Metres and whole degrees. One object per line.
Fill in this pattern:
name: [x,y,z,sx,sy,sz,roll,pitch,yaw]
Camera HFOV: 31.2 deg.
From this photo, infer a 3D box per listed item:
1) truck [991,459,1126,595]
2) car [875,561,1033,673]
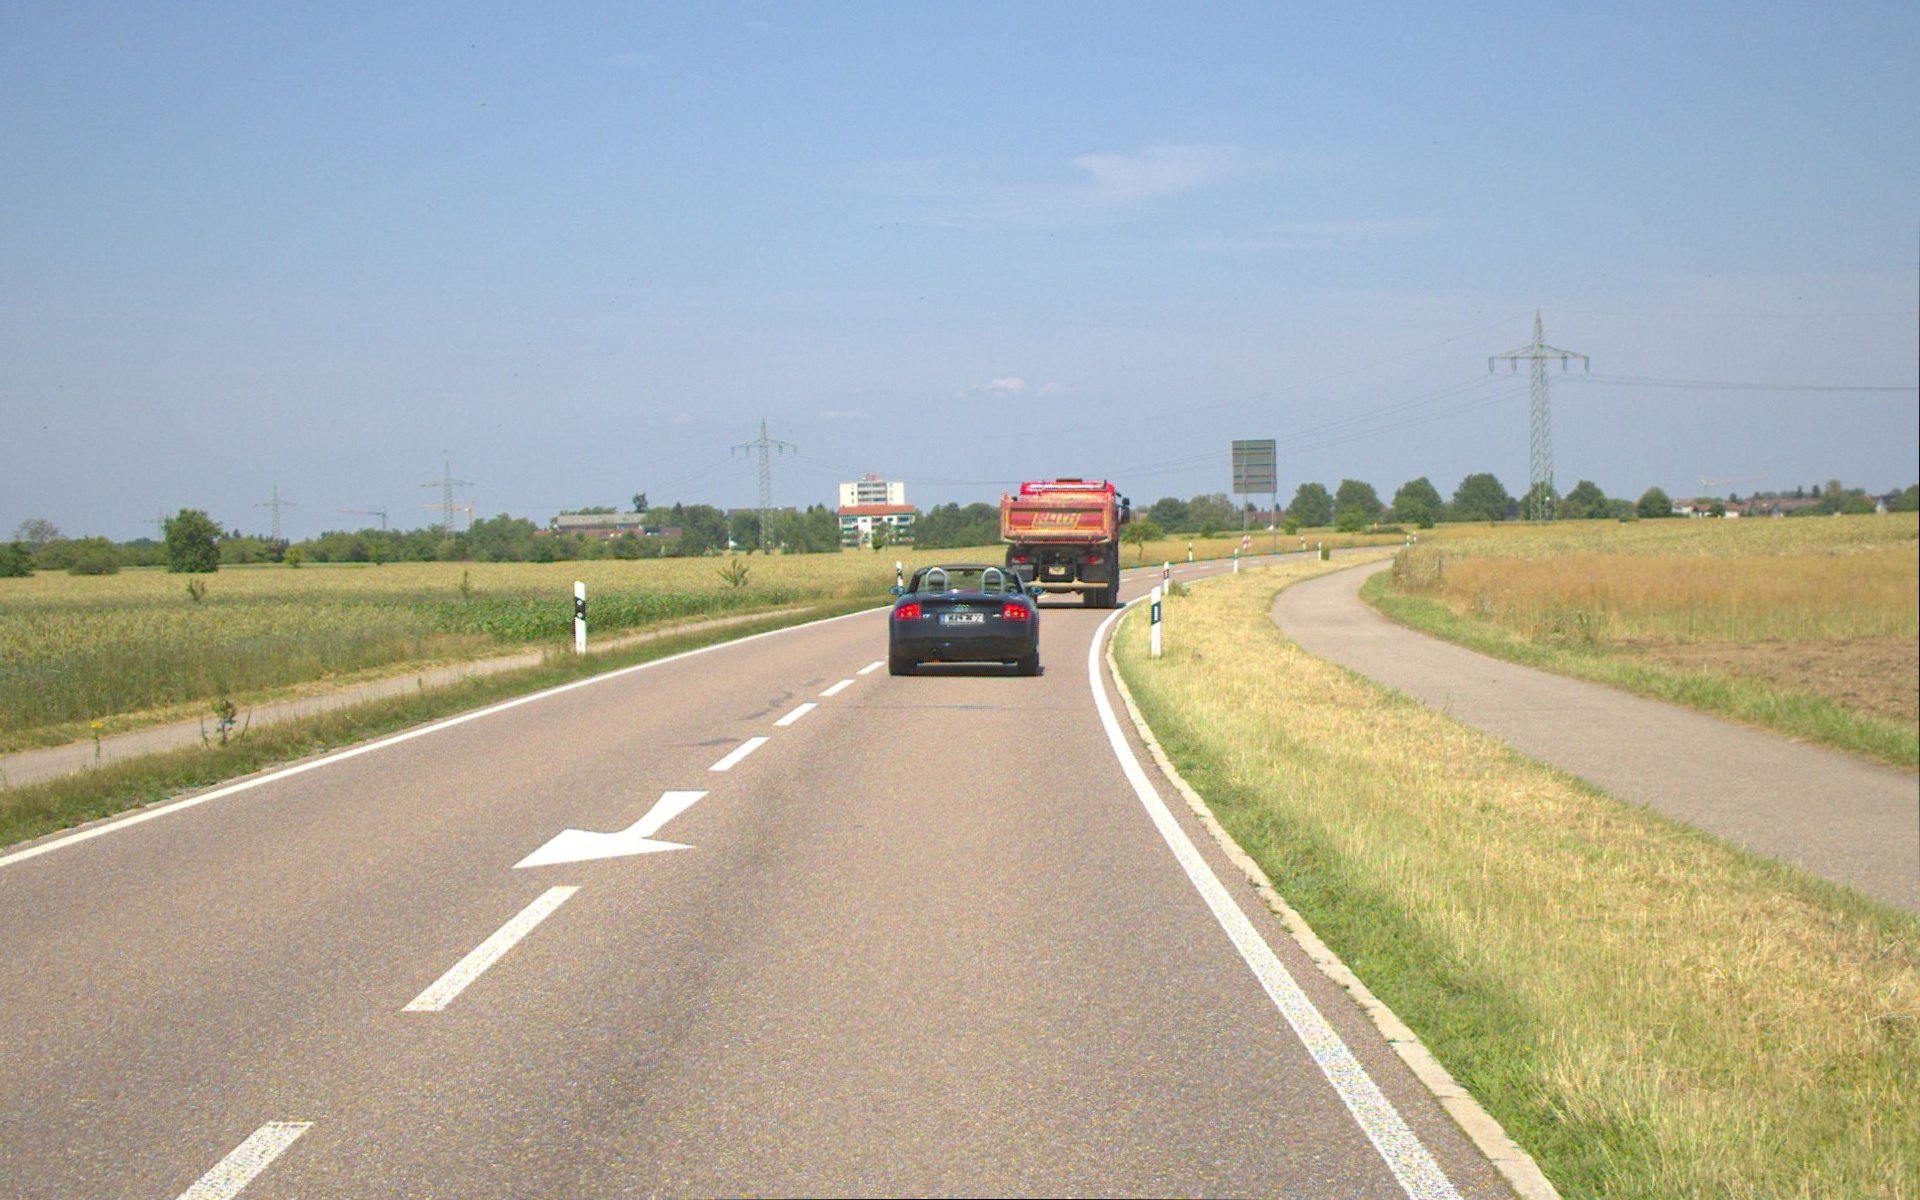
truck: [2.413,-1.698,82.102,2.938,3.078,7.195,0,0,4]
car: [-0.029,0.170,41.132,1.744,1.275,4.000,0,1,2]
